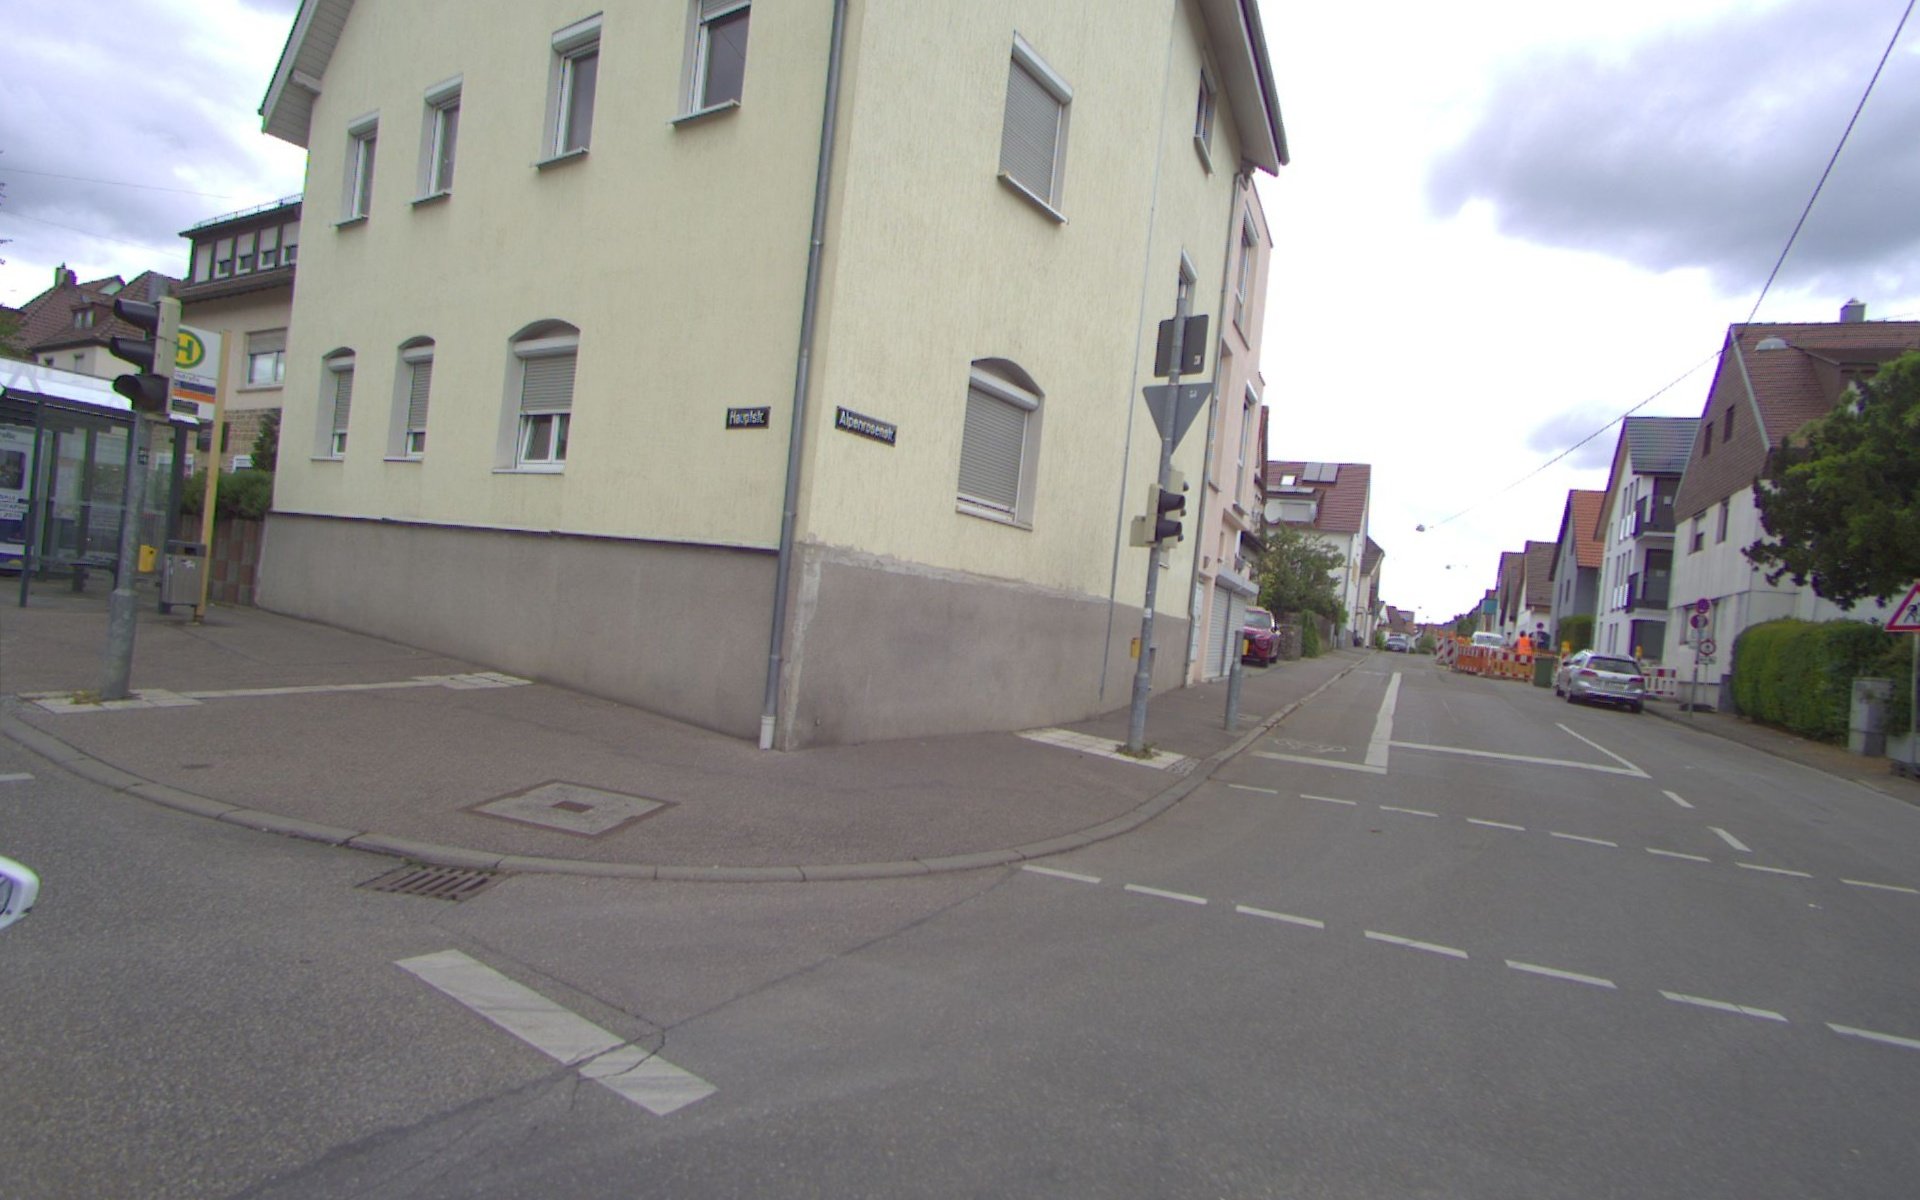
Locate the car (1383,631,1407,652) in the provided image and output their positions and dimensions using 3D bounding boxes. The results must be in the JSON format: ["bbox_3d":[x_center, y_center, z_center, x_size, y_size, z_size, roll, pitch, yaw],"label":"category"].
[{"bbox_3d":[36.357,3.511,84.134,1.701,1.711,3.999,0,-3,20],"label":"car"}]

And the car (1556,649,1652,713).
[{"bbox_3d":[17.793,2.192,27.957,1.697,1.427,3.993,7,1,27],"label":"car"}]

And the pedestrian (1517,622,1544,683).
[{"bbox_3d":[21.146,1.931,37.291,0.589,2.199,0.674,7,2,23],"label":"pedestrian"}]

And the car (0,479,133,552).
[{"bbox_3d":[-23.289,-2.157,24.561,1.836,1.507,4.419,6,1,35],"label":"car"}]

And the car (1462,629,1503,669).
[{"bbox_3d":[31.507,2.974,60.754,1.965,2.037,3.999,6,-2,27],"label":"car"}]

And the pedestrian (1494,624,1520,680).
[{"bbox_3d":[20.502,1.947,37.696,0.589,2.040,0.674,7,2,23],"label":"pedestrian"}]

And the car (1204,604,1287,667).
[{"bbox_3d":[8.754,1.081,30.689,1.759,1.614,3.619,8,1,24],"label":"car"}]
